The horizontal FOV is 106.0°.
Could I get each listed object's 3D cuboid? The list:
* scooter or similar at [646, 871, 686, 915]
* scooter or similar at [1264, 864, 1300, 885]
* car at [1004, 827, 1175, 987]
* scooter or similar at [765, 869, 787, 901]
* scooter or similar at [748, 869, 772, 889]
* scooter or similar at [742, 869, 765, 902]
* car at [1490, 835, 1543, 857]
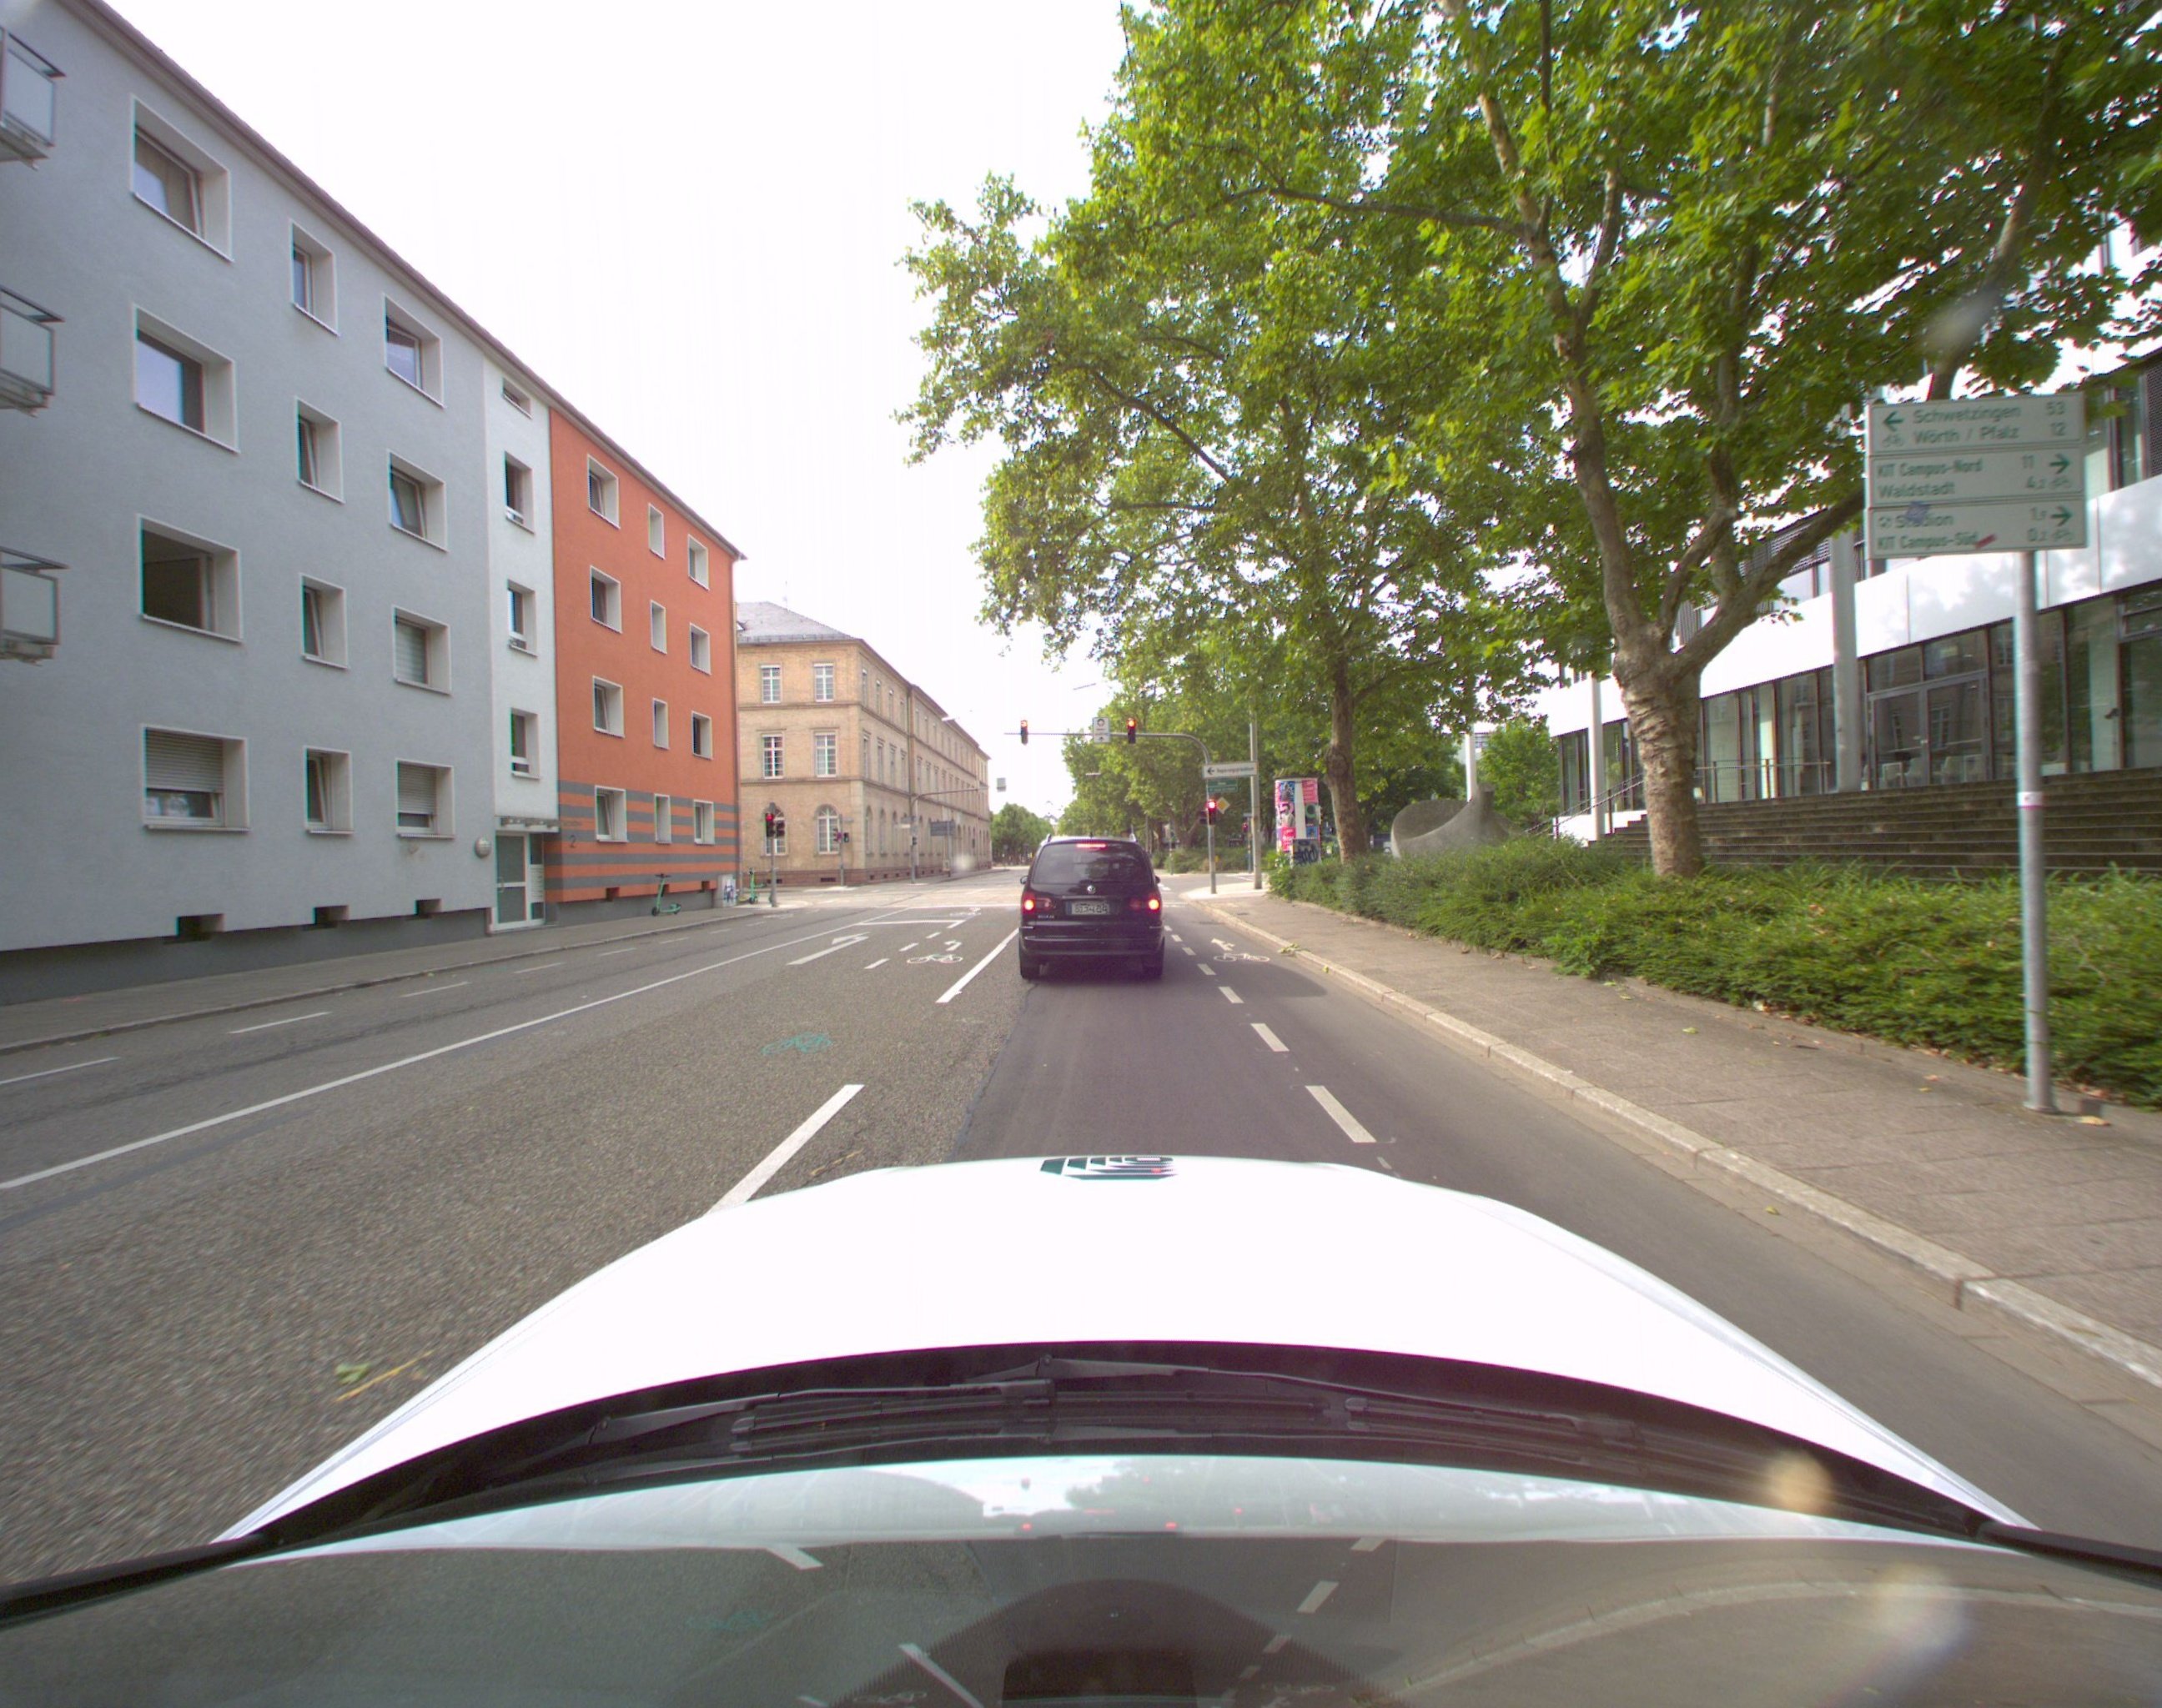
[{"bbox_3d":[-11.673,1.072,22.943,0.376,1.184,1.390,-2,-2,1],"label":"scooter or similar"},{"bbox_3d":[7.465,0.748,30.281,1.215,0.736,0.369,-2,0,0],"label":"scooter or similar"},{"bbox_3d":[0.210,0.587,11.410,1.866,1.745,4.577,-1,0,3],"label":"car"},{"bbox_3d":[-11.112,1.132,29.699,0.377,1.144,1.141,-2,-2,-2],"label":"scooter or similar"},{"bbox_3d":[-17.556,1.364,44.581,1.134,1.049,0.379,-2,-2,0],"label":"scooter or similar"},{"bbox_3d":[-11.712,1.133,29.161,0.377,1.147,1.141,-2,-2,-2],"label":"scooter or similar"},{"bbox_3d":[34.771,-0.653,65.173,1.955,1.651,4.151,-2,0,-1],"label":"car"}]
